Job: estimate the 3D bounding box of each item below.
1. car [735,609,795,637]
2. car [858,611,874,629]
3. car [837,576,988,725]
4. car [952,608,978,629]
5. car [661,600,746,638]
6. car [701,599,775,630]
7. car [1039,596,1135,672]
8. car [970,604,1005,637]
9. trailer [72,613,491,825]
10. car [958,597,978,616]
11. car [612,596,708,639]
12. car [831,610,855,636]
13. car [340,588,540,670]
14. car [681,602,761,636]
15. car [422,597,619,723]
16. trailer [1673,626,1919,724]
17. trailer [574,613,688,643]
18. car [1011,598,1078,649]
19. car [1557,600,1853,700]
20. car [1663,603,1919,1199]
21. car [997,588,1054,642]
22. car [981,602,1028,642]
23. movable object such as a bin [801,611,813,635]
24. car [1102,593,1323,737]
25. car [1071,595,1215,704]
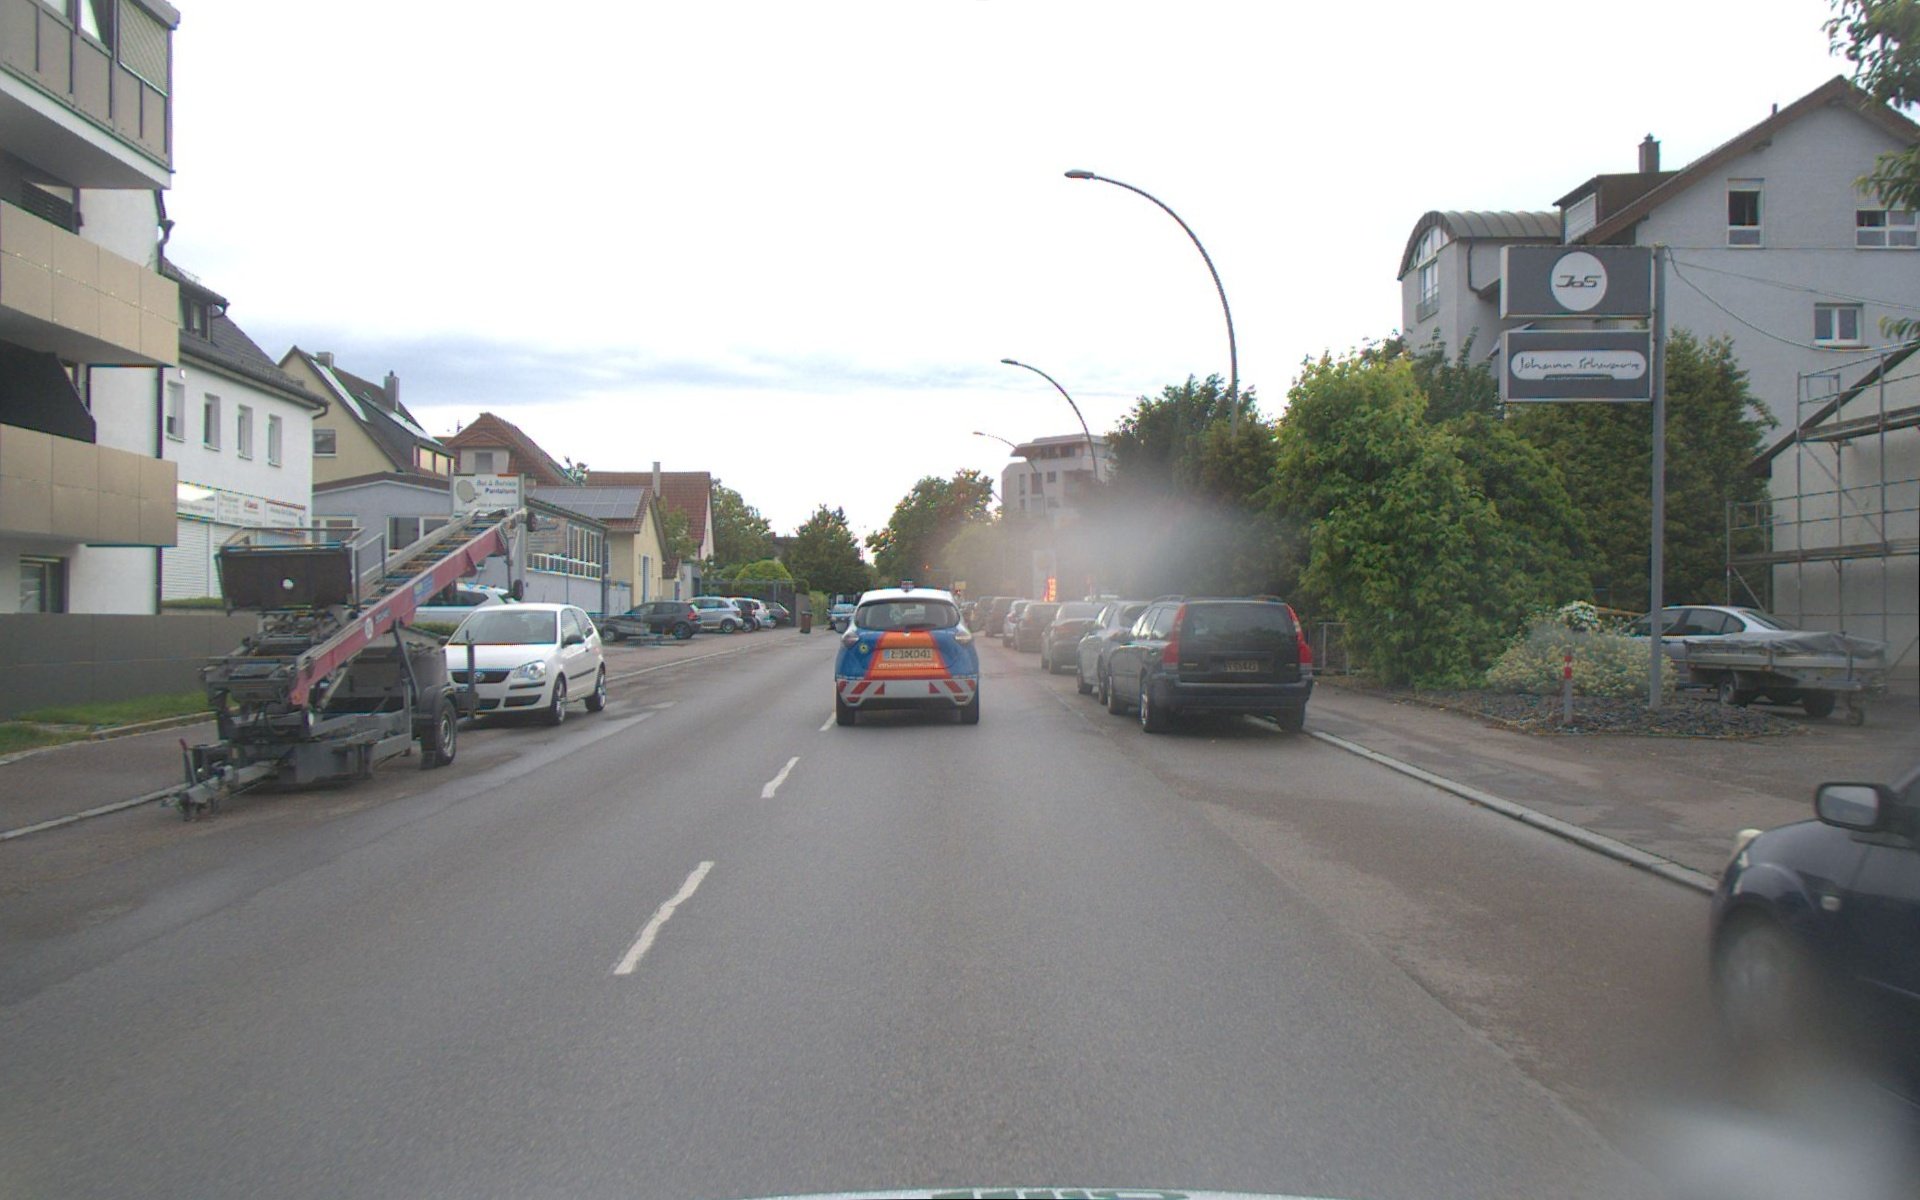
[{"bbox_3d":[-10.754,1.282,91.287,3.217,1.473,1.478,-1,0,-5],"label":"car"},{"bbox_3d":[-6.722,1.448,118.697,1.128,1.254,3.370,0,0,-3],"label":"car"},{"bbox_3d":[-0.584,0.586,20.378,1.696,1.659,3.493,0,-1,-2],"label":"car"},{"bbox_3d":[0.354,1.343,121.740,1.617,1.509,3.998,2,-1,-3],"label":"car"},{"bbox_3d":[-11.601,0.877,74.999,3.686,1.604,1.653,2,-1,-5],"label":"car"},{"bbox_3d":[-11.167,0.724,83.247,3.582,1.509,1.478,-1,0,-5],"label":"car"},{"bbox_3d":[2.499,0.661,33.302,1.572,1.398,4.086,2,-1,0],"label":"car"},{"bbox_3d":[1.488,1.122,89.829,1.617,1.701,3.998,2,-1,-3],"label":"car"},{"bbox_3d":[-5.570,0.871,14.389,1.683,1.282,5.242,2,1,-3],"label":"trailer"},{"bbox_3d":[0.703,0.576,149.112,1.617,1.682,3.998,2,-1,-3],"label":"car"},{"bbox_3d":[-11.649,0.687,64.416,3.511,1.553,1.653,2,-1,-5],"label":"car"},{"bbox_3d":[-7.059,1.398,100.292,1.358,1.509,3.782,0,0,-3],"label":"car"},{"bbox_3d":[-10.993,0.617,35.123,3.684,1.595,1.654,2,-1,-3],"label":"car"},{"bbox_3d":[-11.446,0.892,79.365,3.686,1.509,1.653,2,-1,-5],"label":"car"},{"bbox_3d":[-5.649,0.738,21.714,1.525,1.458,3.999,2,-1,-1],"label":"car"},{"bbox_3d":[10.591,0.893,20.792,1.507,1.078,3.906,1,-1,-1],"label":"trailer"},{"bbox_3d":[-12.284,1.032,61.931,3.942,1.012,1.654,2,-1,-3],"label":"trailer"},{"bbox_3d":[2.354,0.639,46.998,1.616,1.359,3.999,0,0,-1],"label":"car"},{"bbox_3d":[11.398,0.712,25.469,1.530,1.423,3.890,0,0,-45],"label":"car"},{"bbox_3d":[3.090,0.765,3.534,1.457,1.464,3.806,2,0,-1],"label":"car"},{"bbox_3d":[2.033,0.479,51.947,1.451,1.583,3.859,2,-1,-2],"label":"car"},{"bbox_3d":[1.820,0.899,68.065,1.617,1.548,3.998,2,-1,-3],"label":"car"},{"bbox_3d":[-7.882,1.166,85.381,0.568,1.225,0.318,1,-1,-1],"label":"movable object such as a bin"},{"bbox_3d":[2.844,0.706,19.592,1.677,1.464,4.523,2,-1,-3],"label":"car"},{"bbox_3d":[2.625,0.672,24.429,1.509,1.454,3.749,2,0,-3],"label":"car"}]
